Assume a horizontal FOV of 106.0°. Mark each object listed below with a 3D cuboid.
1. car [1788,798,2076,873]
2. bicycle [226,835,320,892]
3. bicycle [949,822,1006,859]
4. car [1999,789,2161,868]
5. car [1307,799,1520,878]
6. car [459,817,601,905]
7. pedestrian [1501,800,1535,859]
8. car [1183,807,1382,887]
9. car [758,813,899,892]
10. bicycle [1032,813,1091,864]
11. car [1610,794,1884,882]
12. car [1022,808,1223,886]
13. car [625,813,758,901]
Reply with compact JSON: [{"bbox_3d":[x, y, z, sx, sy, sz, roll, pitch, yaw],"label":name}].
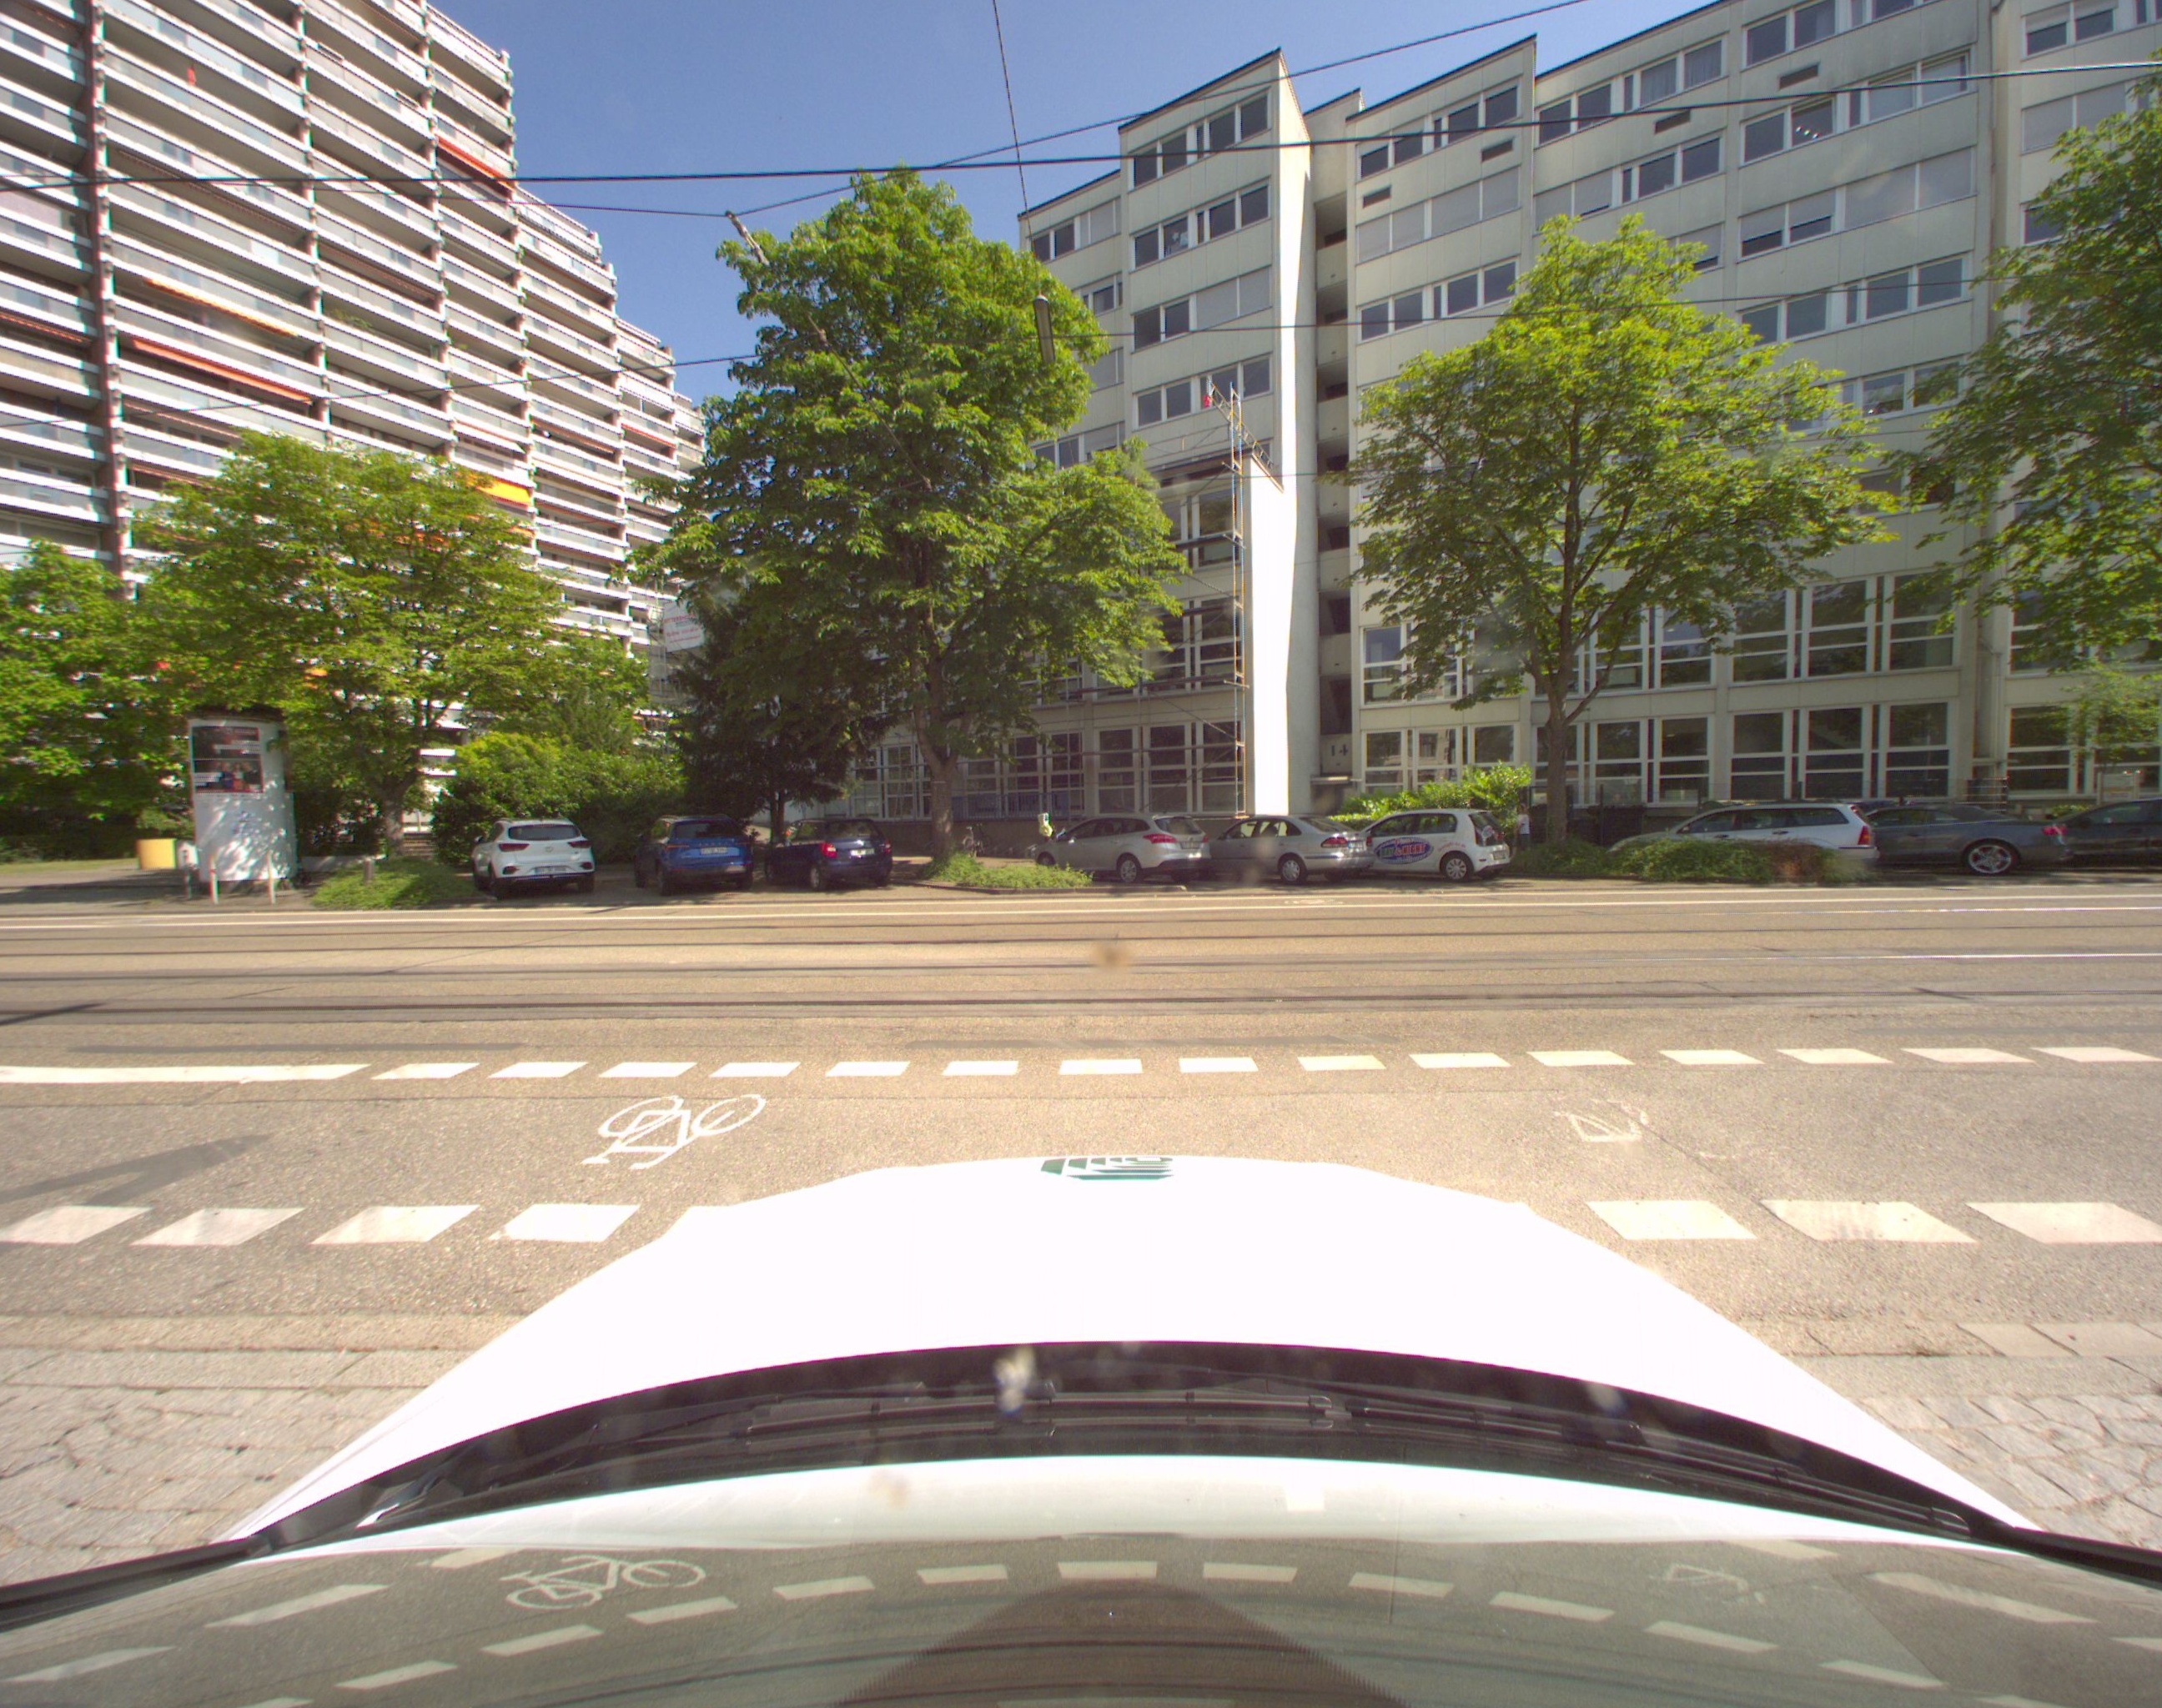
[{"bbox_3d":[17.043,-0.401,16.535,1.567,1.357,3.898,-3,3,-42],"label":"car"},{"bbox_3d":[-19.578,0.220,19.746,1.612,1.308,0.546,-1,2,-2],"label":"bicycle"},{"bbox_3d":[-3.212,-0.442,25.493,0.734,1.085,2.215,0,3,22],"label":"bicycle"},{"bbox_3d":[20.718,-0.514,15.748,1.567,1.485,3.898,-3,3,-42],"label":"car"},{"bbox_3d":[6.995,-0.333,17.425,1.622,1.486,3.899,-3,2,-41],"label":"car"},{"bbox_3d":[-12.067,0.082,17.745,1.831,1.605,3.897,-7,6,-44],"label":"car"},{"bbox_3d":[11.071,-0.633,20.636,0.618,1.460,0.424,-1,2,1],"label":"pedestrian"},{"bbox_3d":[4.169,-0.193,17.320,1.621,1.485,3.899,-3,3,-40],"label":"car"},{"bbox_3d":[-5.543,-0.084,17.677,1.585,1.530,3.417,-3,3,-42],"label":"car"},{"bbox_3d":[-0.560,-0.489,24.426,0.655,1.453,2.104,0,3,34],"label":"bicycle"},{"bbox_3d":[13.737,-0.351,17.002,1.568,1.604,4.291,-3,3,-44],"label":"car"},{"bbox_3d":[0.787,-0.202,17.804,1.794,1.485,4.383,-3,3,-42],"label":"car"},{"bbox_3d":[-8.608,-0.052,17.824,1.789,1.622,3.902,-4,5,-37],"label":"car"}]
